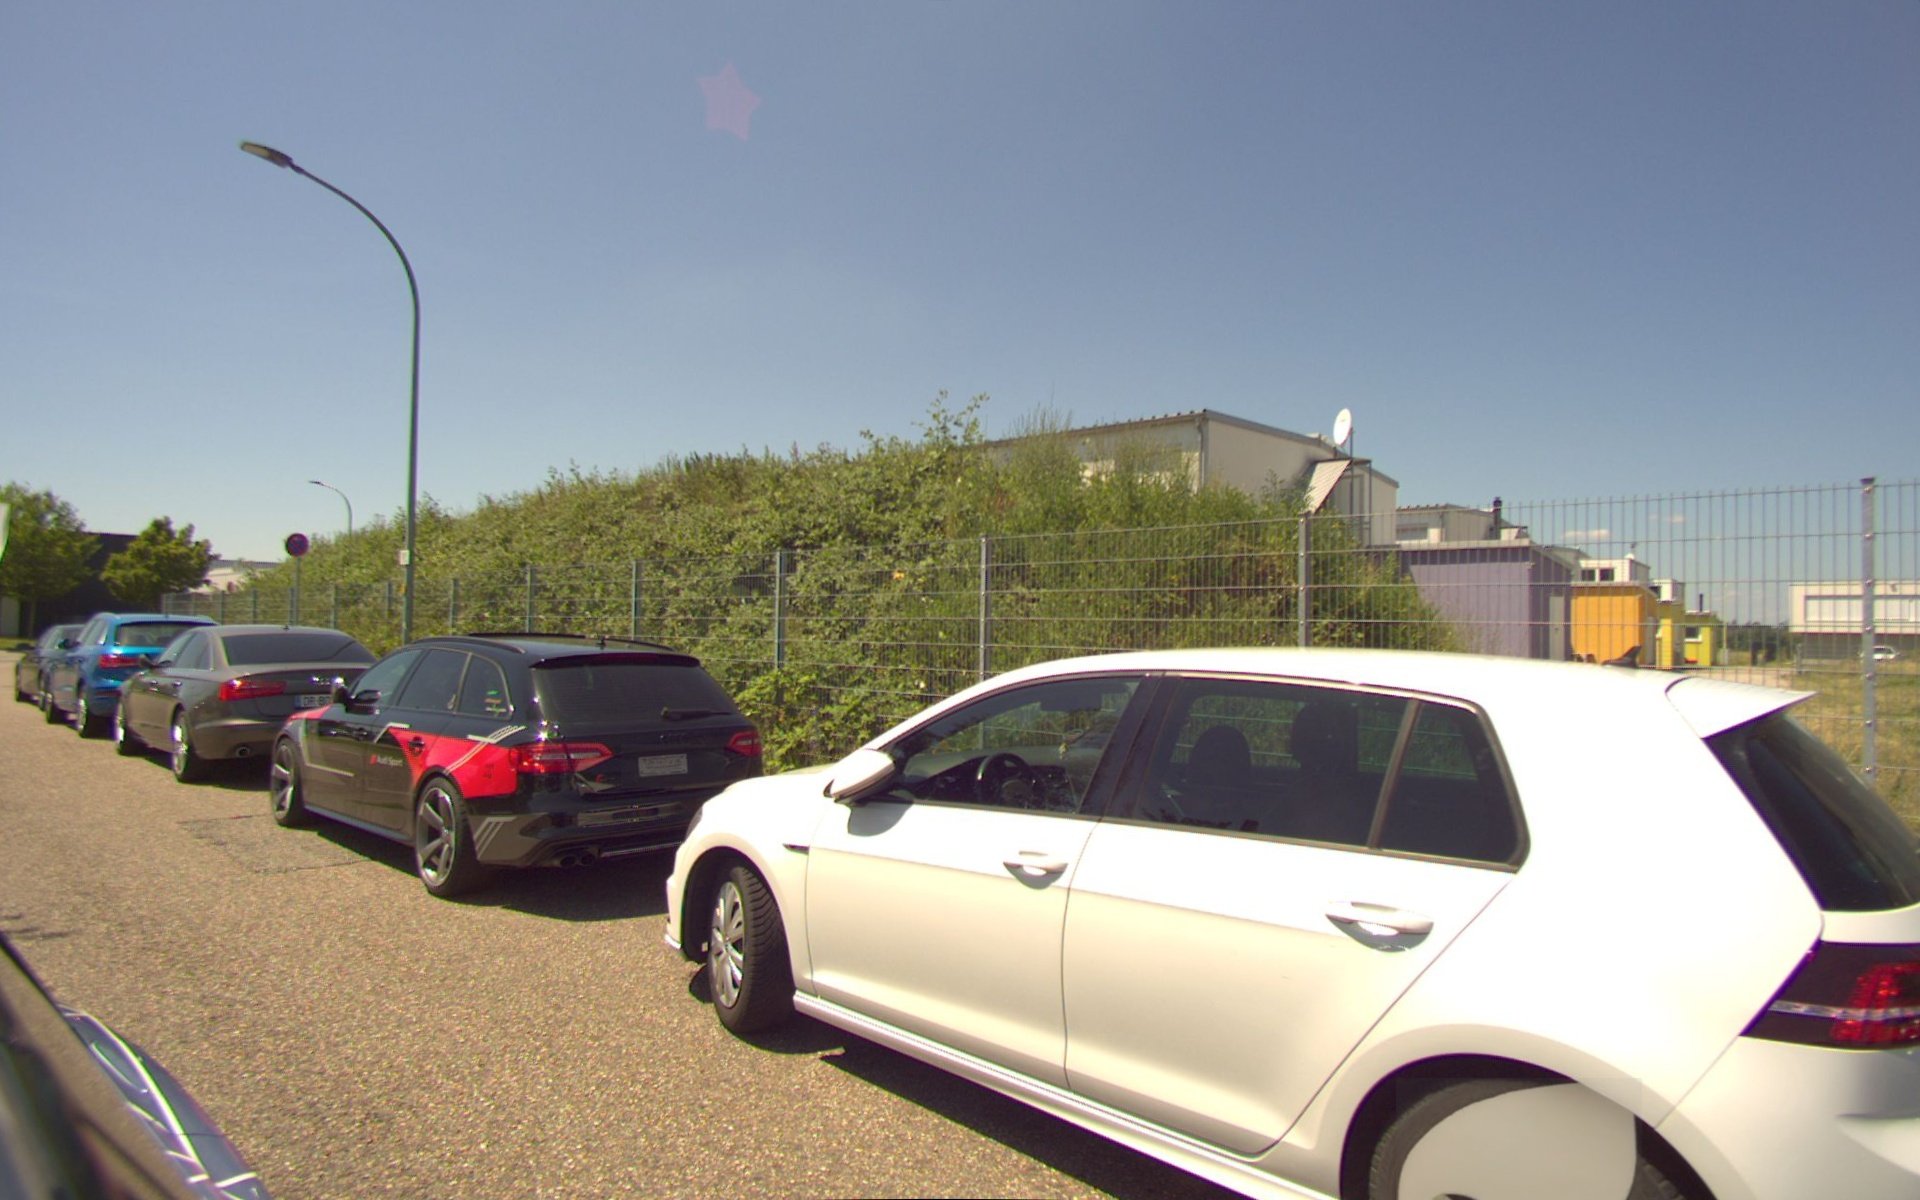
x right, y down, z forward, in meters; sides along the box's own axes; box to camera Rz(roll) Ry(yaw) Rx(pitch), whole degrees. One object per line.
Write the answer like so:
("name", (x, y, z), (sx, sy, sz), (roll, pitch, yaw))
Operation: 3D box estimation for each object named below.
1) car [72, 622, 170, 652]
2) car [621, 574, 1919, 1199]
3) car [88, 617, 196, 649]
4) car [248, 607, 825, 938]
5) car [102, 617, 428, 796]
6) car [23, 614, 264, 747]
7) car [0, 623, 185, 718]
("car", (-49.221, 2.184, 59.419), (1.779, 1.579, 4.116), (-1, -4, 40))
("car", (0.870, 0.777, 3.220), (4.257, 1.511, 1.805), (-1, -3, 42))
("car", (-43.835, 1.758, 54.281), (1.779, 1.613, 4.225), (-1, -2, 40))
("car", (-3.087, 0.857, 6.834), (4.518, 1.511, 1.805), (-1, -3, 42))
("car", (-7.519, 0.968, 10.759), (4.518, 1.511, 1.805), (-1, -3, 42))
("car", (-11.564, 1.028, 14.226), (4.383, 1.582, 1.805), (-1, -3, 40))
("car", (-15.451, 1.166, 17.895), (4.577, 1.466, 1.805), (-1, -3, 40))
